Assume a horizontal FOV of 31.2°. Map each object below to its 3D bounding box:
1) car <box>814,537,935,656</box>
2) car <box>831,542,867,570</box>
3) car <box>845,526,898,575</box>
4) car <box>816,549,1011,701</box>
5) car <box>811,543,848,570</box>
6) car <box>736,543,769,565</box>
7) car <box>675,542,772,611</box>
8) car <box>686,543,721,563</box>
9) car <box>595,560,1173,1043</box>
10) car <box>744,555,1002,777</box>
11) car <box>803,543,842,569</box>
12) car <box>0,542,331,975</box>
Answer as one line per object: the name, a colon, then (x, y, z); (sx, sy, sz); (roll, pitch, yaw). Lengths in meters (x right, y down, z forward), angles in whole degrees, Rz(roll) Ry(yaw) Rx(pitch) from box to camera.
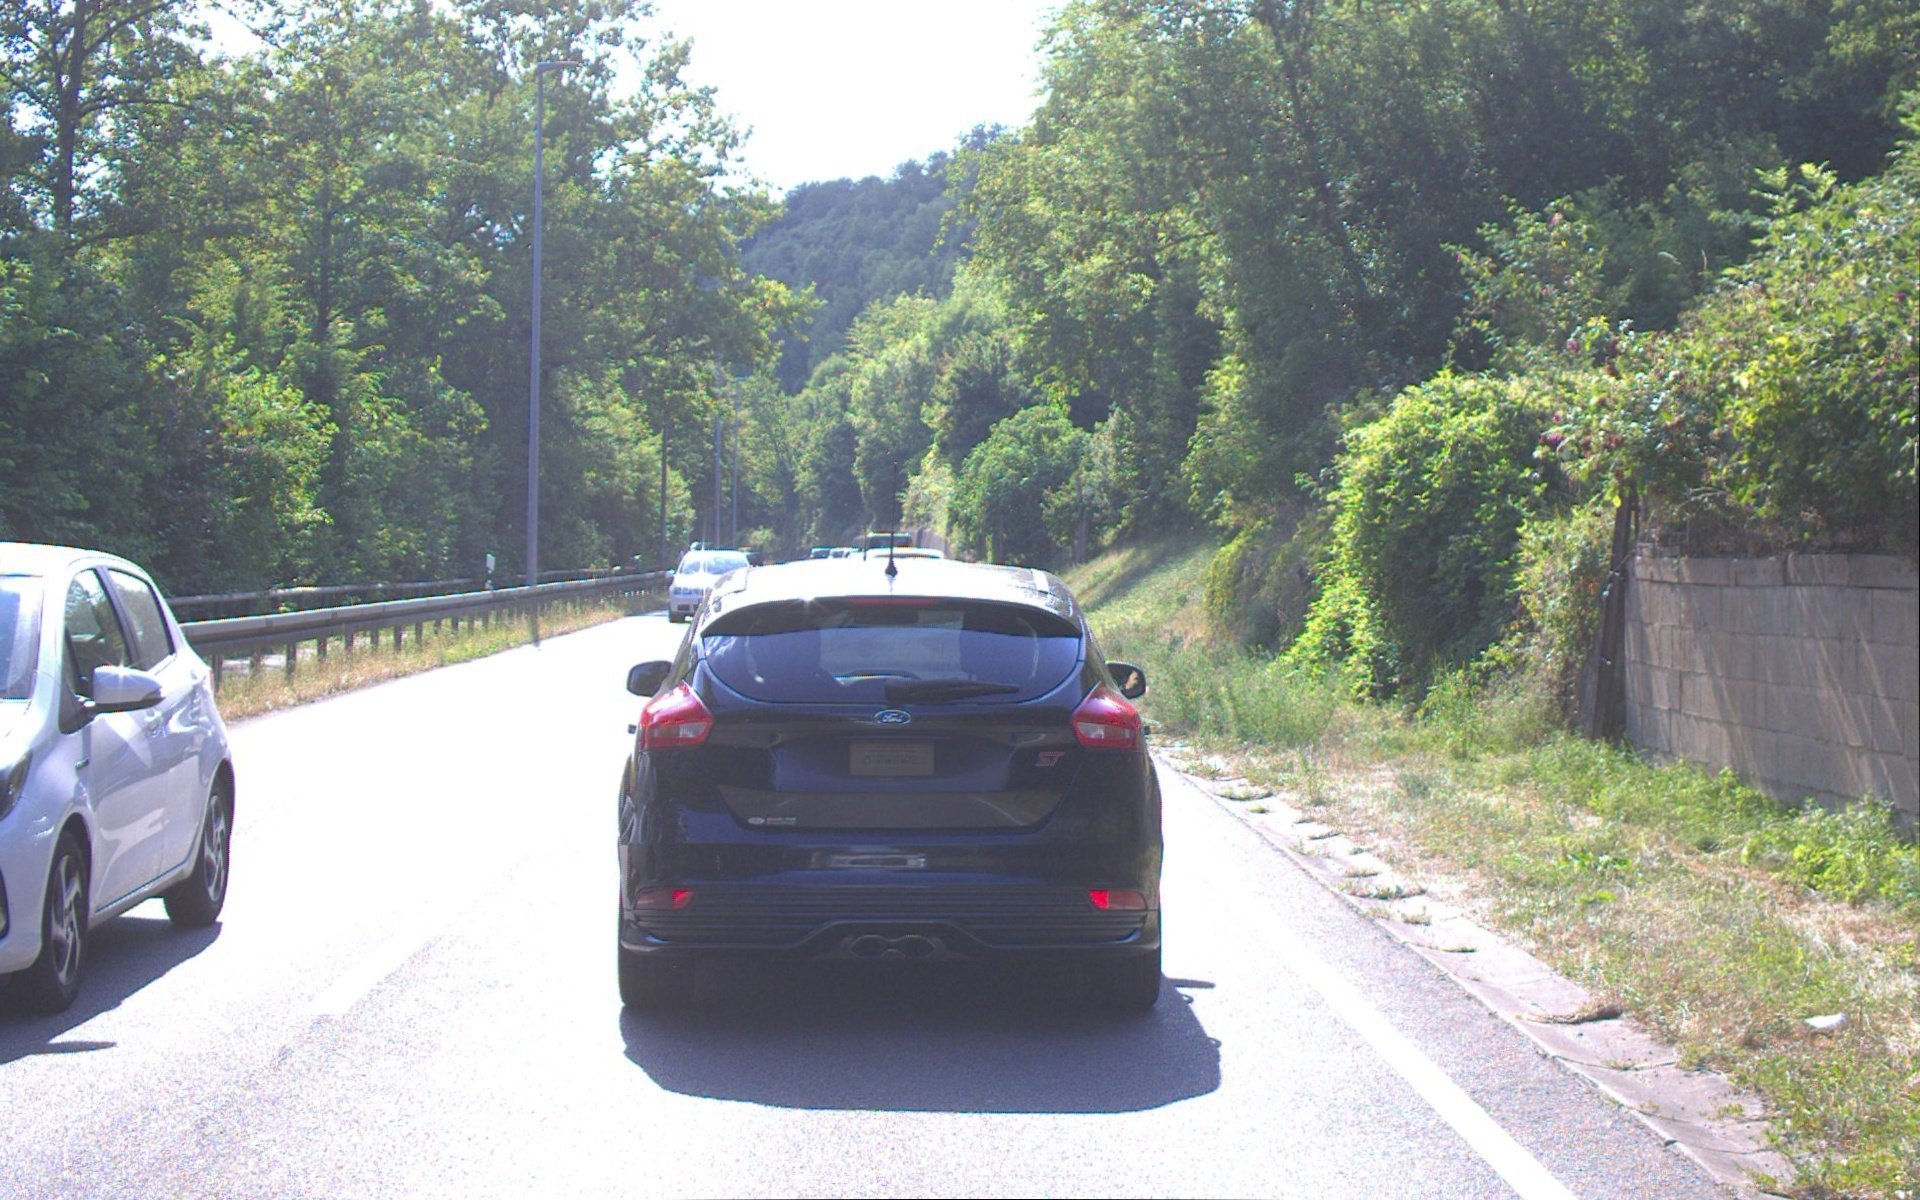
car: (-1.172, -0.077, 48.147); (1.631, 1.590, 4.000); (0, 1, -1)
car: (-5.927, -2.361, 184.306); (1.819, 1.514, 4.000); (0, 1, -1)
car: (-3.285, -1.847, 126.885); (1.863, 1.774, 4.001); (0, 1, -3)
car: (-0.457, 0.203, 33.919); (1.804, 1.387, 4.000); (0, 1, -1)
car: (-7.450, -2.510, 196.539); (1.993, 1.514, 4.001); (0, 1, -4)
car: (-14.438, -3.194, 238.736); (1.993, 1.514, 4.001); (0, 1, -8)
car: (-4.892, -0.506, 71.517); (1.774, 1.383, 4.000); (0, 1, -1)
car: (-19.427, -3.555, 260.001); (1.993, 1.514, 4.001); (0, 1, -14)
car: (-0.254, 0.586, 12.405); (1.739, 1.451, 4.000); (0, 1, -1)
car: (-0.540, 0.400, 24.196); (1.661, 1.413, 4.000); (0, 1, 1)
car: (-8.276, -2.666, 206.728); (1.993, 1.514, 4.001); (0, 1, -8)
car: (-3.710, 0.505, 13.811); (1.681, 1.458, 4.198); (1, 1, -1)
